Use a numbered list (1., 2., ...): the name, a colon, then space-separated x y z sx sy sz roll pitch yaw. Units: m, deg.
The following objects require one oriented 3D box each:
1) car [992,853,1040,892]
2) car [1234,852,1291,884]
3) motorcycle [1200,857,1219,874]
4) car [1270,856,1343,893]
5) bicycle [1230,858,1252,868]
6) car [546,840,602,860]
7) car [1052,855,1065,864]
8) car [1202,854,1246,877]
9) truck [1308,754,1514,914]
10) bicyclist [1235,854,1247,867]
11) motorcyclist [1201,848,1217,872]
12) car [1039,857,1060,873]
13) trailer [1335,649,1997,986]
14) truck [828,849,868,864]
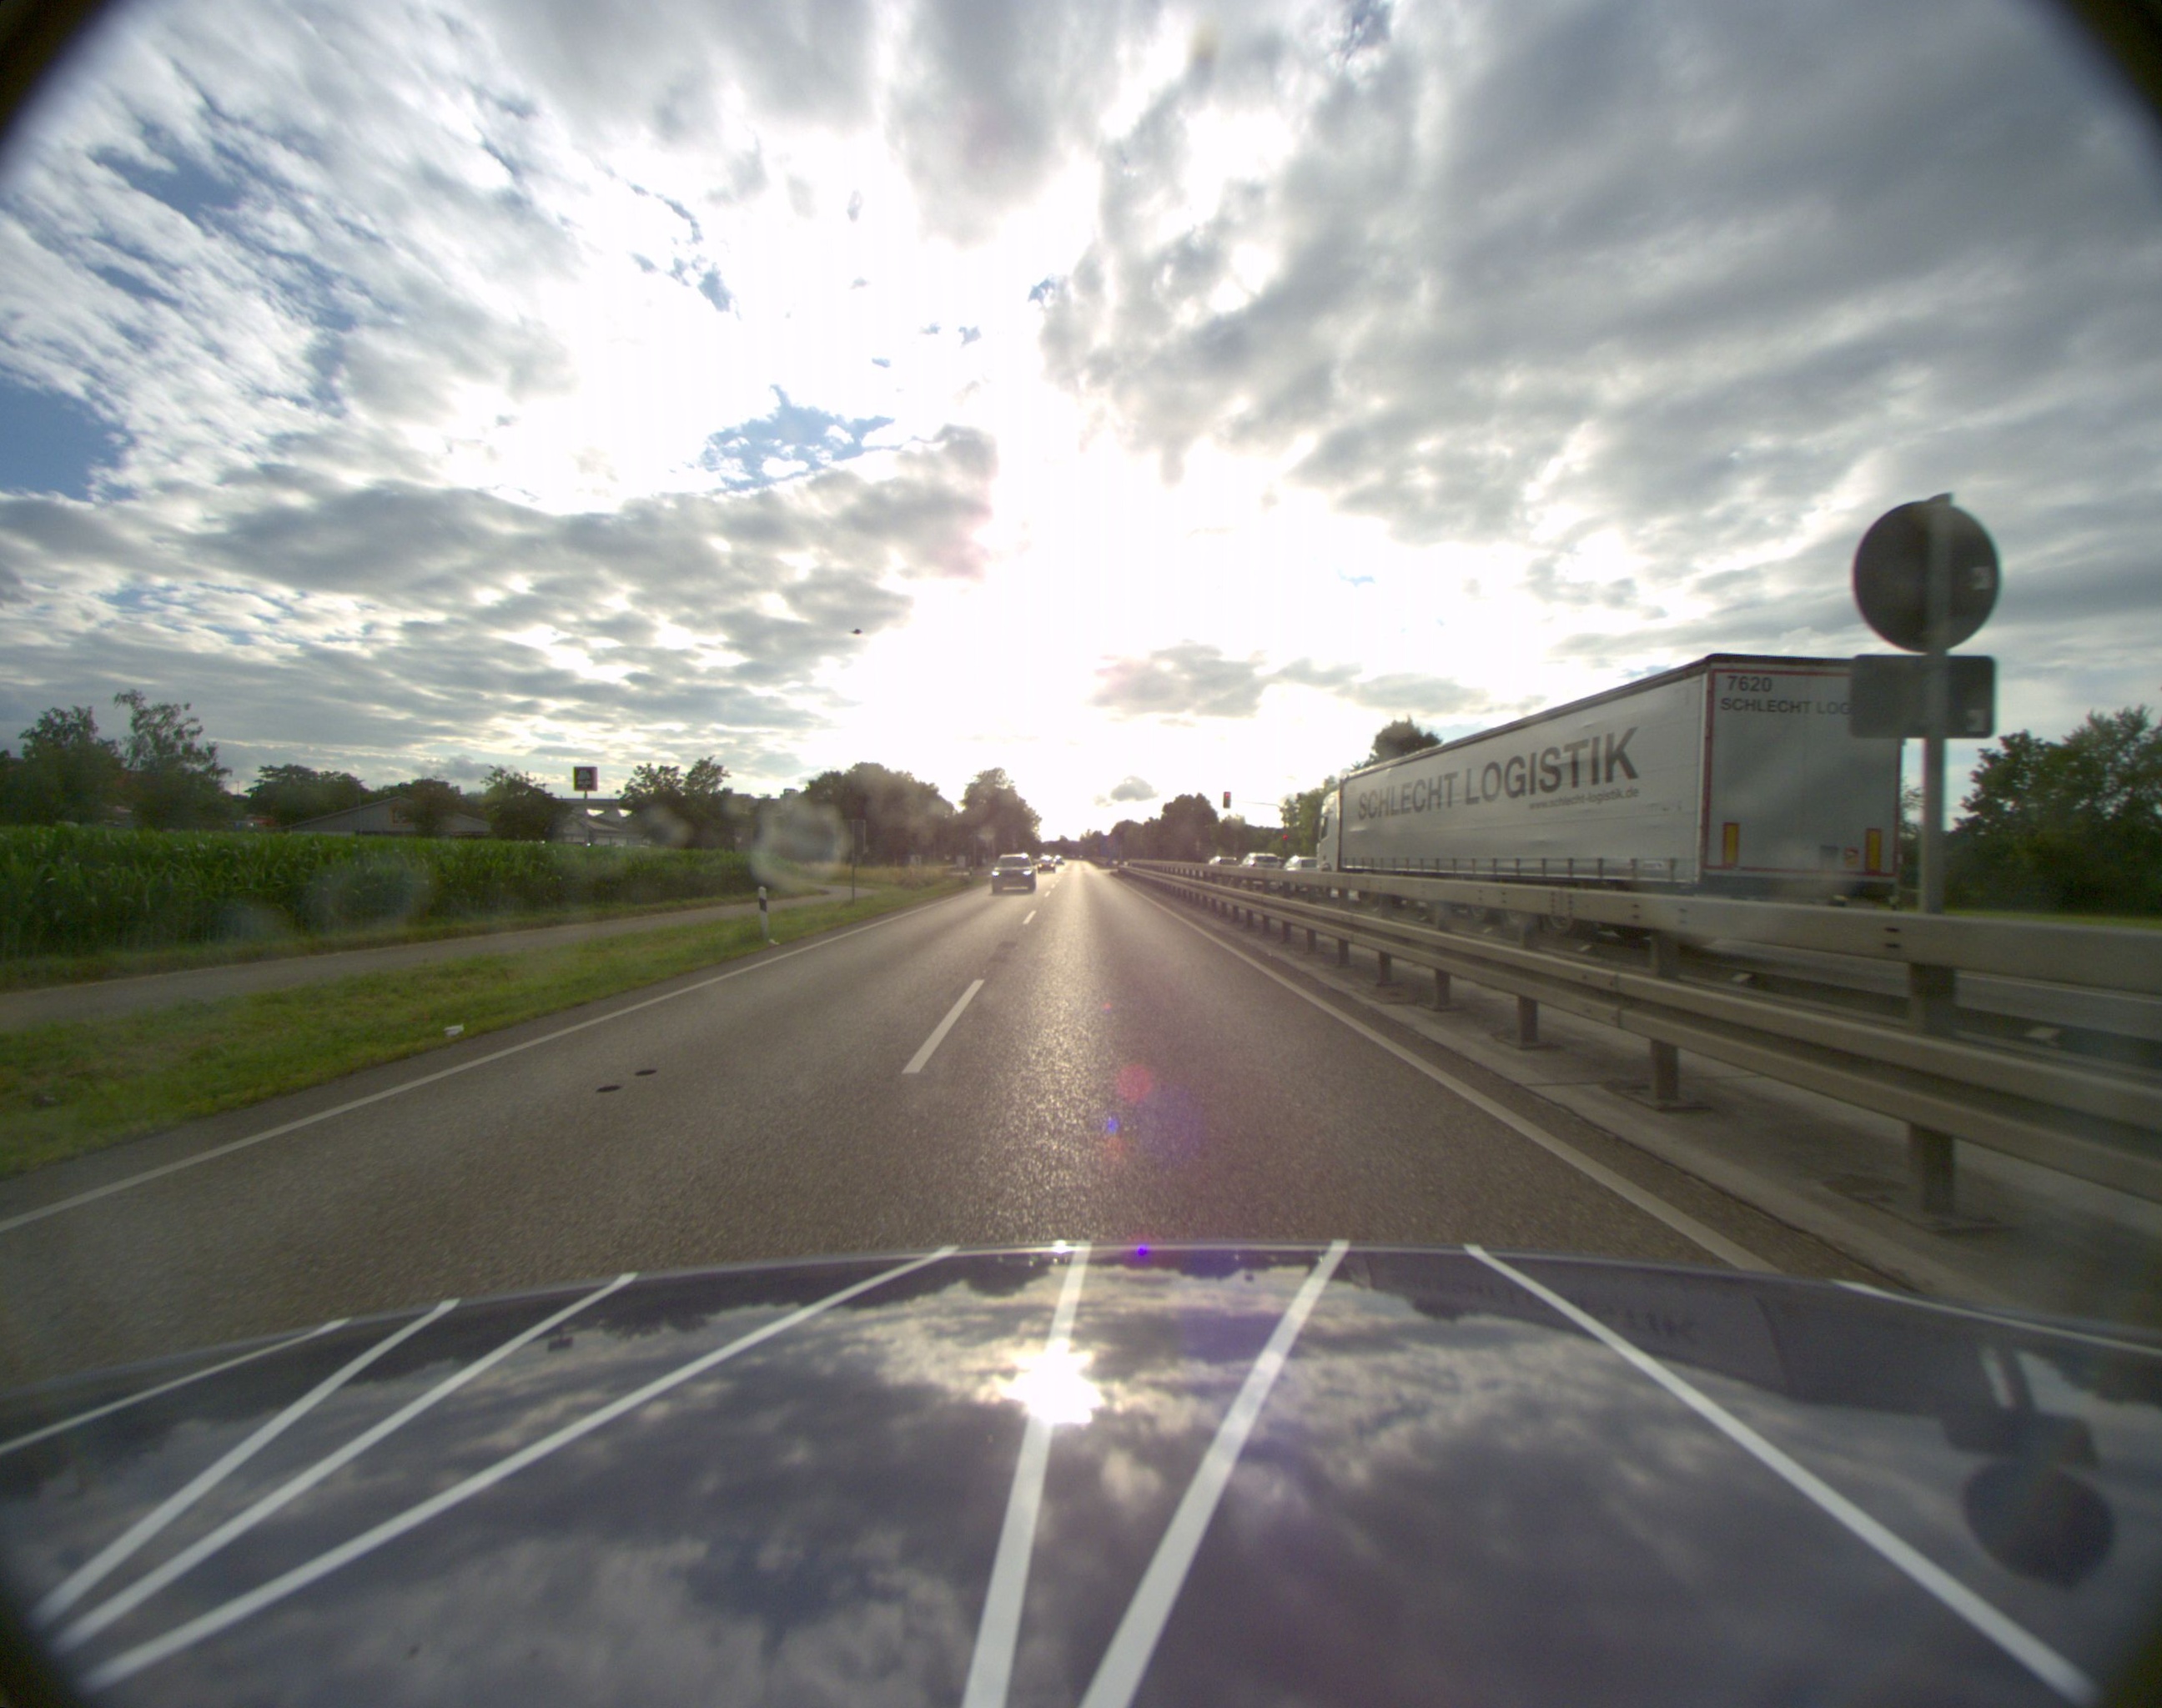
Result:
1. car: -2.949 0.799 35.214 1.849 1.640 4.480 -2 0 -1
2. car: 9.589 0.681 40.482 1.912 1.600 4.404 0 0 0
3. motorcycle: 9.308 0.816 55.084 0.918 1.196 2.478 1 1 0
4. car: 9.462 0.809 32.222 1.793 1.436 4.160 0 0 0
5. bicycle: 17.614 1.008 83.699 2.324 1.131 0.816 0 1 5
6. car: -51.667 -0.408 77.450 4.304 1.873 1.960 2 1 -3
7. car: -3.635 0.933 124.214 1.999 1.486 3.999 0 0 0
8. car: 9.336 0.696 49.975 1.912 1.420 5.151 0 0 0
9. truck: 9.594 -0.537 23.055 3.483 4.126 6.049 2 1 0
10. bicyclist: 17.648 0.686 83.699 1.225 1.443 0.816 0 1 5
11. motorcyclist: 9.304 0.438 55.078 0.918 1.699 1.276 1 1 0
12. car: -2.997 1.038 72.419 1.667 1.424 3.995 -1 0 1
13. trailer: 9.639 -0.487 16.473 3.474 4.126 13.914 2 0 0
14. truck: -31.247 0.331 102.025 4.679 1.985 1.819 -2 1 -36
